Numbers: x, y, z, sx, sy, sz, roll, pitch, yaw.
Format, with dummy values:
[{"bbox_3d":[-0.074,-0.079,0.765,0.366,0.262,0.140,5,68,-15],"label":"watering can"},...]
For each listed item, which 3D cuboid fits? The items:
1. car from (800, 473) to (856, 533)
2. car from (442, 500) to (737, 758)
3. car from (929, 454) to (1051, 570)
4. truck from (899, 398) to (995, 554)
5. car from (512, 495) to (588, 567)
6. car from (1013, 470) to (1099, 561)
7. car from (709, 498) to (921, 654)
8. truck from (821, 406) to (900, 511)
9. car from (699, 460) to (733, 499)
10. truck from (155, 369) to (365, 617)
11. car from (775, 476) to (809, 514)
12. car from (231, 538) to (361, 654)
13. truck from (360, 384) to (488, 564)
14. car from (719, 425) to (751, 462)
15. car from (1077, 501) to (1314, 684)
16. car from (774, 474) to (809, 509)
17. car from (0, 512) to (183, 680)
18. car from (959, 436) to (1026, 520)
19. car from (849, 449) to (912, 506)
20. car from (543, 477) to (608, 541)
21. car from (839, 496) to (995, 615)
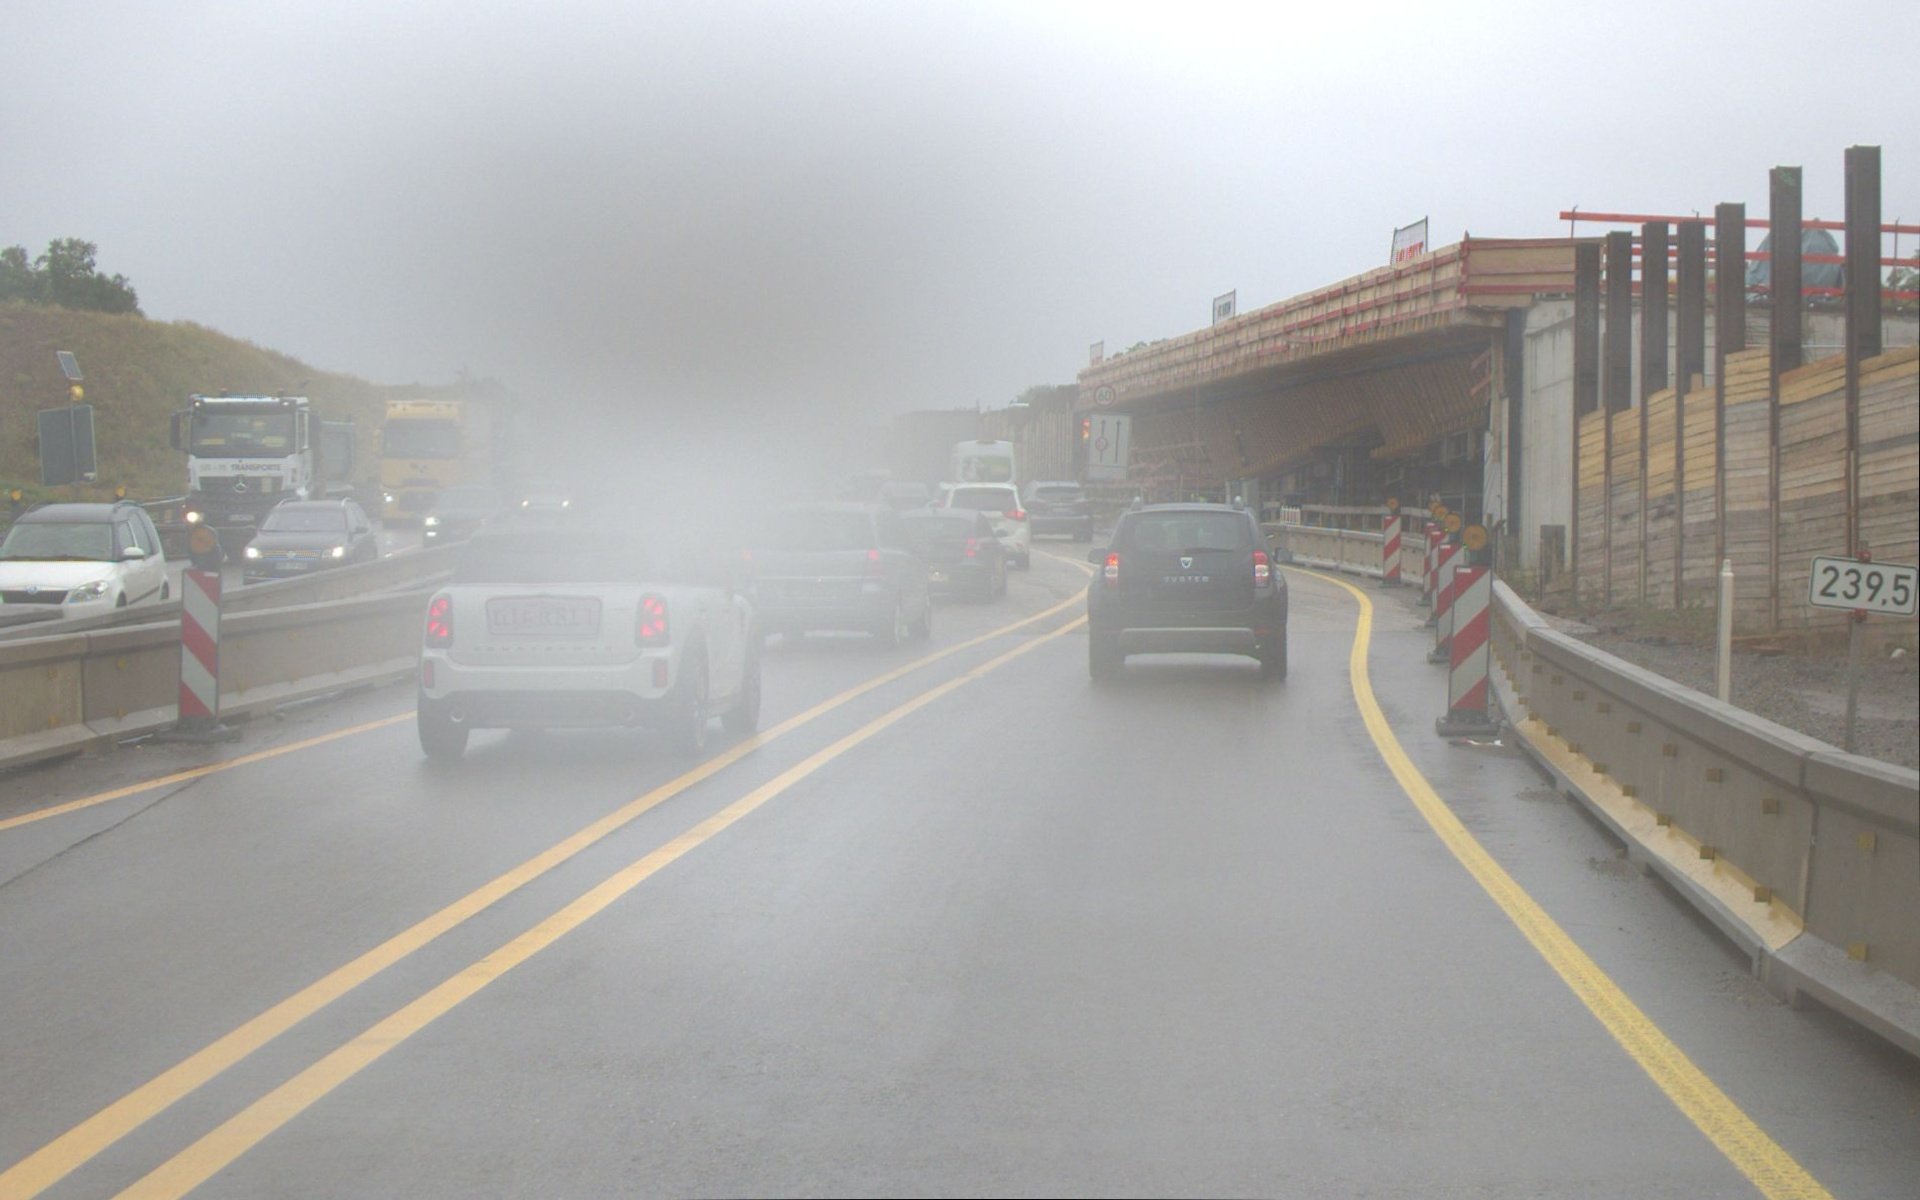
[{"bbox_3d":[-5.262,-3.862,137.694,1.993,2.156,4.140,0,-2,1],"label":"car"},{"bbox_3d":[-2.486,0.224,23.457,1.815,1.595,4.308,0,-1,-5],"label":"car"},{"bbox_3d":[0.549,-1.671,66.535,1.993,2.007,3.893,0,-2,-5],"label":"car"},{"bbox_3d":[-0.446,-4.711,133.454,3.102,5.408,9.441,0,-2,4],"label":"truck"},{"bbox_3d":[-13.983,-2.343,117.567,2.238,2.351,4.877,1,0,-3],"label":"car"},{"bbox_3d":[2.493,-2.194,90.102,1.993,2.156,4.140,0,-2,-2],"label":"car"},{"bbox_3d":[-1.558,-0.221,38.509,1.994,1.595,4.139,0,-2,3],"label":"car"},{"bbox_3d":[-5.745,-7.943,195.589,3.803,5.026,12.922,0,-2,-5],"label":"truck"},{"bbox_3d":[-14.572,-7.179,204.985,1.993,2.007,4.000,0,-2,-5],"label":"car"},{"bbox_3d":[-14.633,-2.128,72.543,3.082,4.903,8.564,1,0,-3],"label":"truck"},{"bbox_3d":[-9.309,-5.808,190.481,1.849,1.887,4.021,0,-2,-3],"label":"car"},{"bbox_3d":[-10.929,-0.035,56.788,1.622,1.804,3.637,0,-2,-3],"label":"car"},{"bbox_3d":[-17.058,-3.911,109.958,3.141,5.399,8.524,1,0,-3],"label":"truck"},{"bbox_3d":[-14.368,-9.973,219.261,1.993,2.007,4.000,0,-2,-5],"label":"car"},{"bbox_3d":[2.172,-0.014,32.441,2.081,1.595,4.140,0,-2,3],"label":"car"},{"bbox_3d":[-10.347,-6.636,210.729,1.993,2.007,4.000,-1,0,-4],"label":"car"},{"bbox_3d":[-10.246,0.011,39.763,1.785,1.804,4.499,0,-2,-4],"label":"car"},{"bbox_3d":[1.054,-4.004,113.661,1.993,2.476,4.982,0,-2,-2],"label":"car"},{"bbox_3d":[-2.809,-4.298,121.428,1.993,1.755,3.815,0,-2,-5],"label":"car"},{"bbox_3d":[-15.000,-3.519,134.322,2.216,2.362,4.664,1,0,-3],"label":"car"},{"bbox_3d":[-0.690,-0.626,51.381,1.993,1.595,4.141,0,-2,-5],"label":"car"}]
